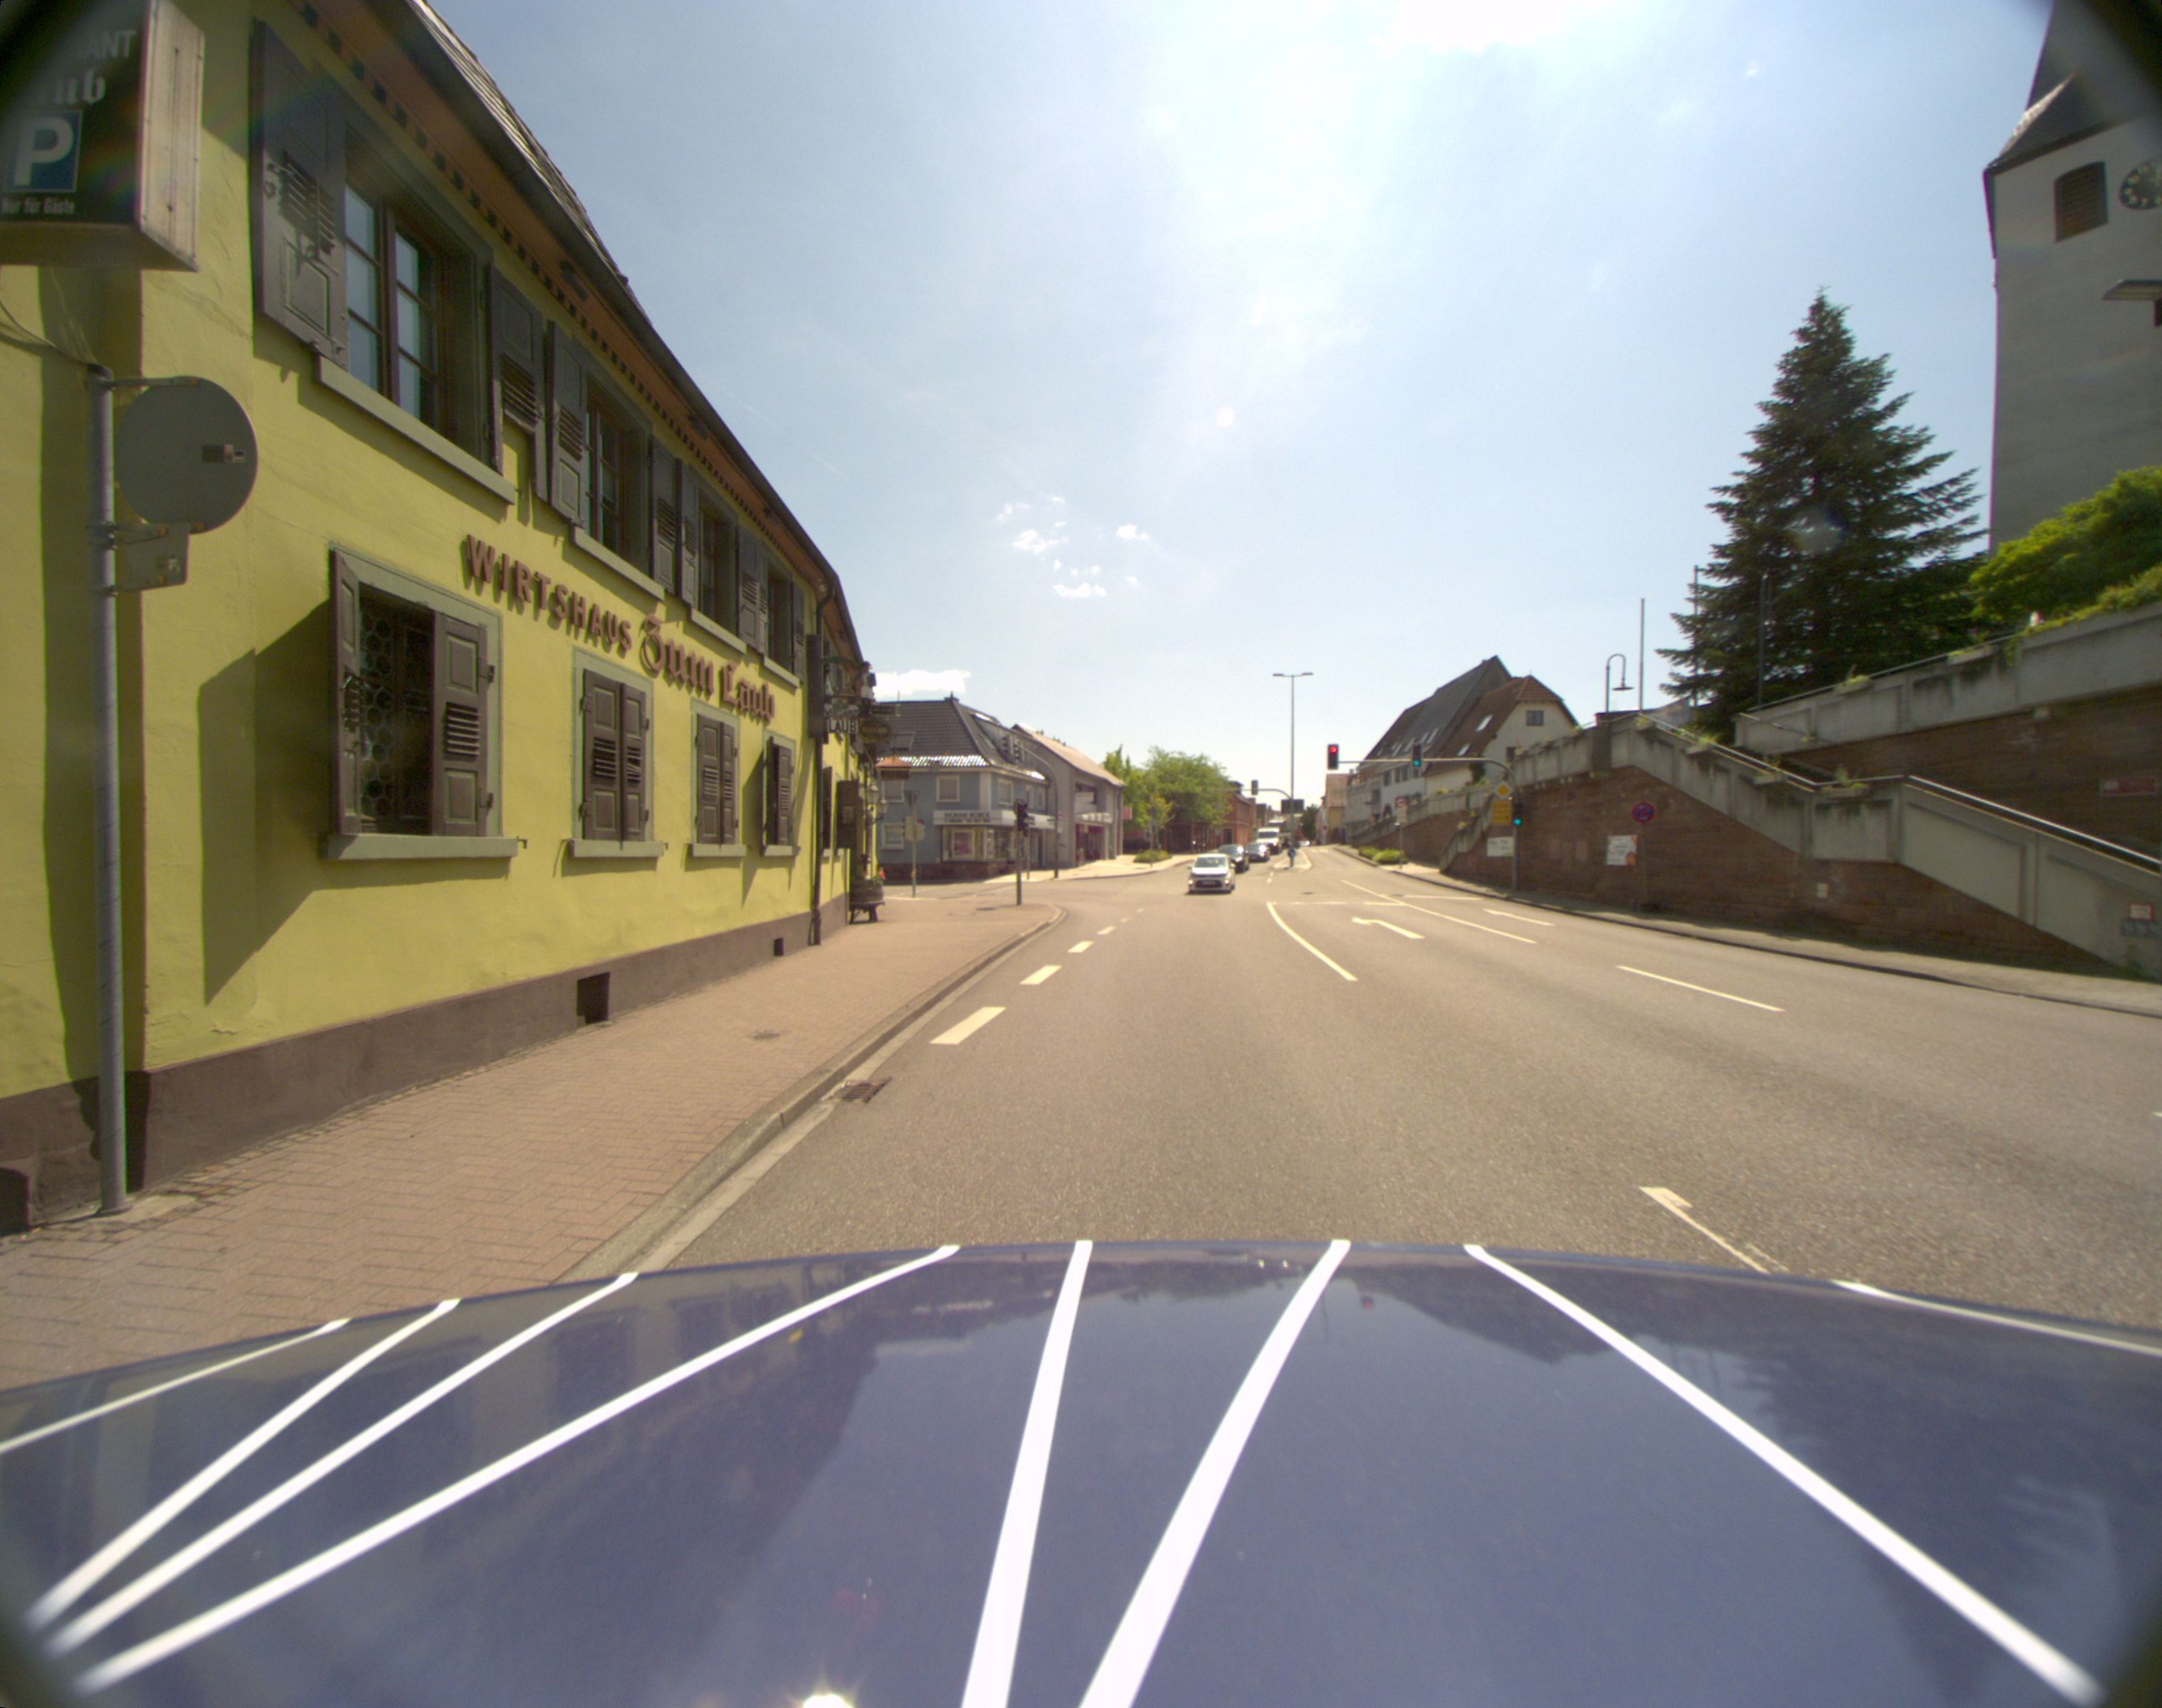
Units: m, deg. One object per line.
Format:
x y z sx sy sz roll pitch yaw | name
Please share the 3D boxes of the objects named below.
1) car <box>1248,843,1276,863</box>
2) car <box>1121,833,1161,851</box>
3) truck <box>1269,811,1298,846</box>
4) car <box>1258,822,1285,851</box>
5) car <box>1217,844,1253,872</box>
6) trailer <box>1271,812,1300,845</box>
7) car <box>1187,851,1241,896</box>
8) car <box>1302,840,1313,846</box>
13.604 -0.091 56.965 1.927 1.358 4.307 -1 1 15 | car
5.995 -1.214 75.627 3.757 1.701 1.726 -2 1 11 | car
21.582 -2.644 80.799 2.844 3.549 5.475 0 1 17 | truck
17.297 -1.533 68.754 2.172 2.549 4.830 0 1 17 | car
9.327 0.235 45.829 1.722 1.542 4.308 -1 1 16 | car
23.521 -2.762 87.023 2.834 3.549 10.978 0 1 17 | trailer
5.352 0.718 30.177 1.722 1.542 4.307 -1 1 14 | car
54.049 -2.614 181.364 2.008 1.621 4.585 0 1 24 | car
